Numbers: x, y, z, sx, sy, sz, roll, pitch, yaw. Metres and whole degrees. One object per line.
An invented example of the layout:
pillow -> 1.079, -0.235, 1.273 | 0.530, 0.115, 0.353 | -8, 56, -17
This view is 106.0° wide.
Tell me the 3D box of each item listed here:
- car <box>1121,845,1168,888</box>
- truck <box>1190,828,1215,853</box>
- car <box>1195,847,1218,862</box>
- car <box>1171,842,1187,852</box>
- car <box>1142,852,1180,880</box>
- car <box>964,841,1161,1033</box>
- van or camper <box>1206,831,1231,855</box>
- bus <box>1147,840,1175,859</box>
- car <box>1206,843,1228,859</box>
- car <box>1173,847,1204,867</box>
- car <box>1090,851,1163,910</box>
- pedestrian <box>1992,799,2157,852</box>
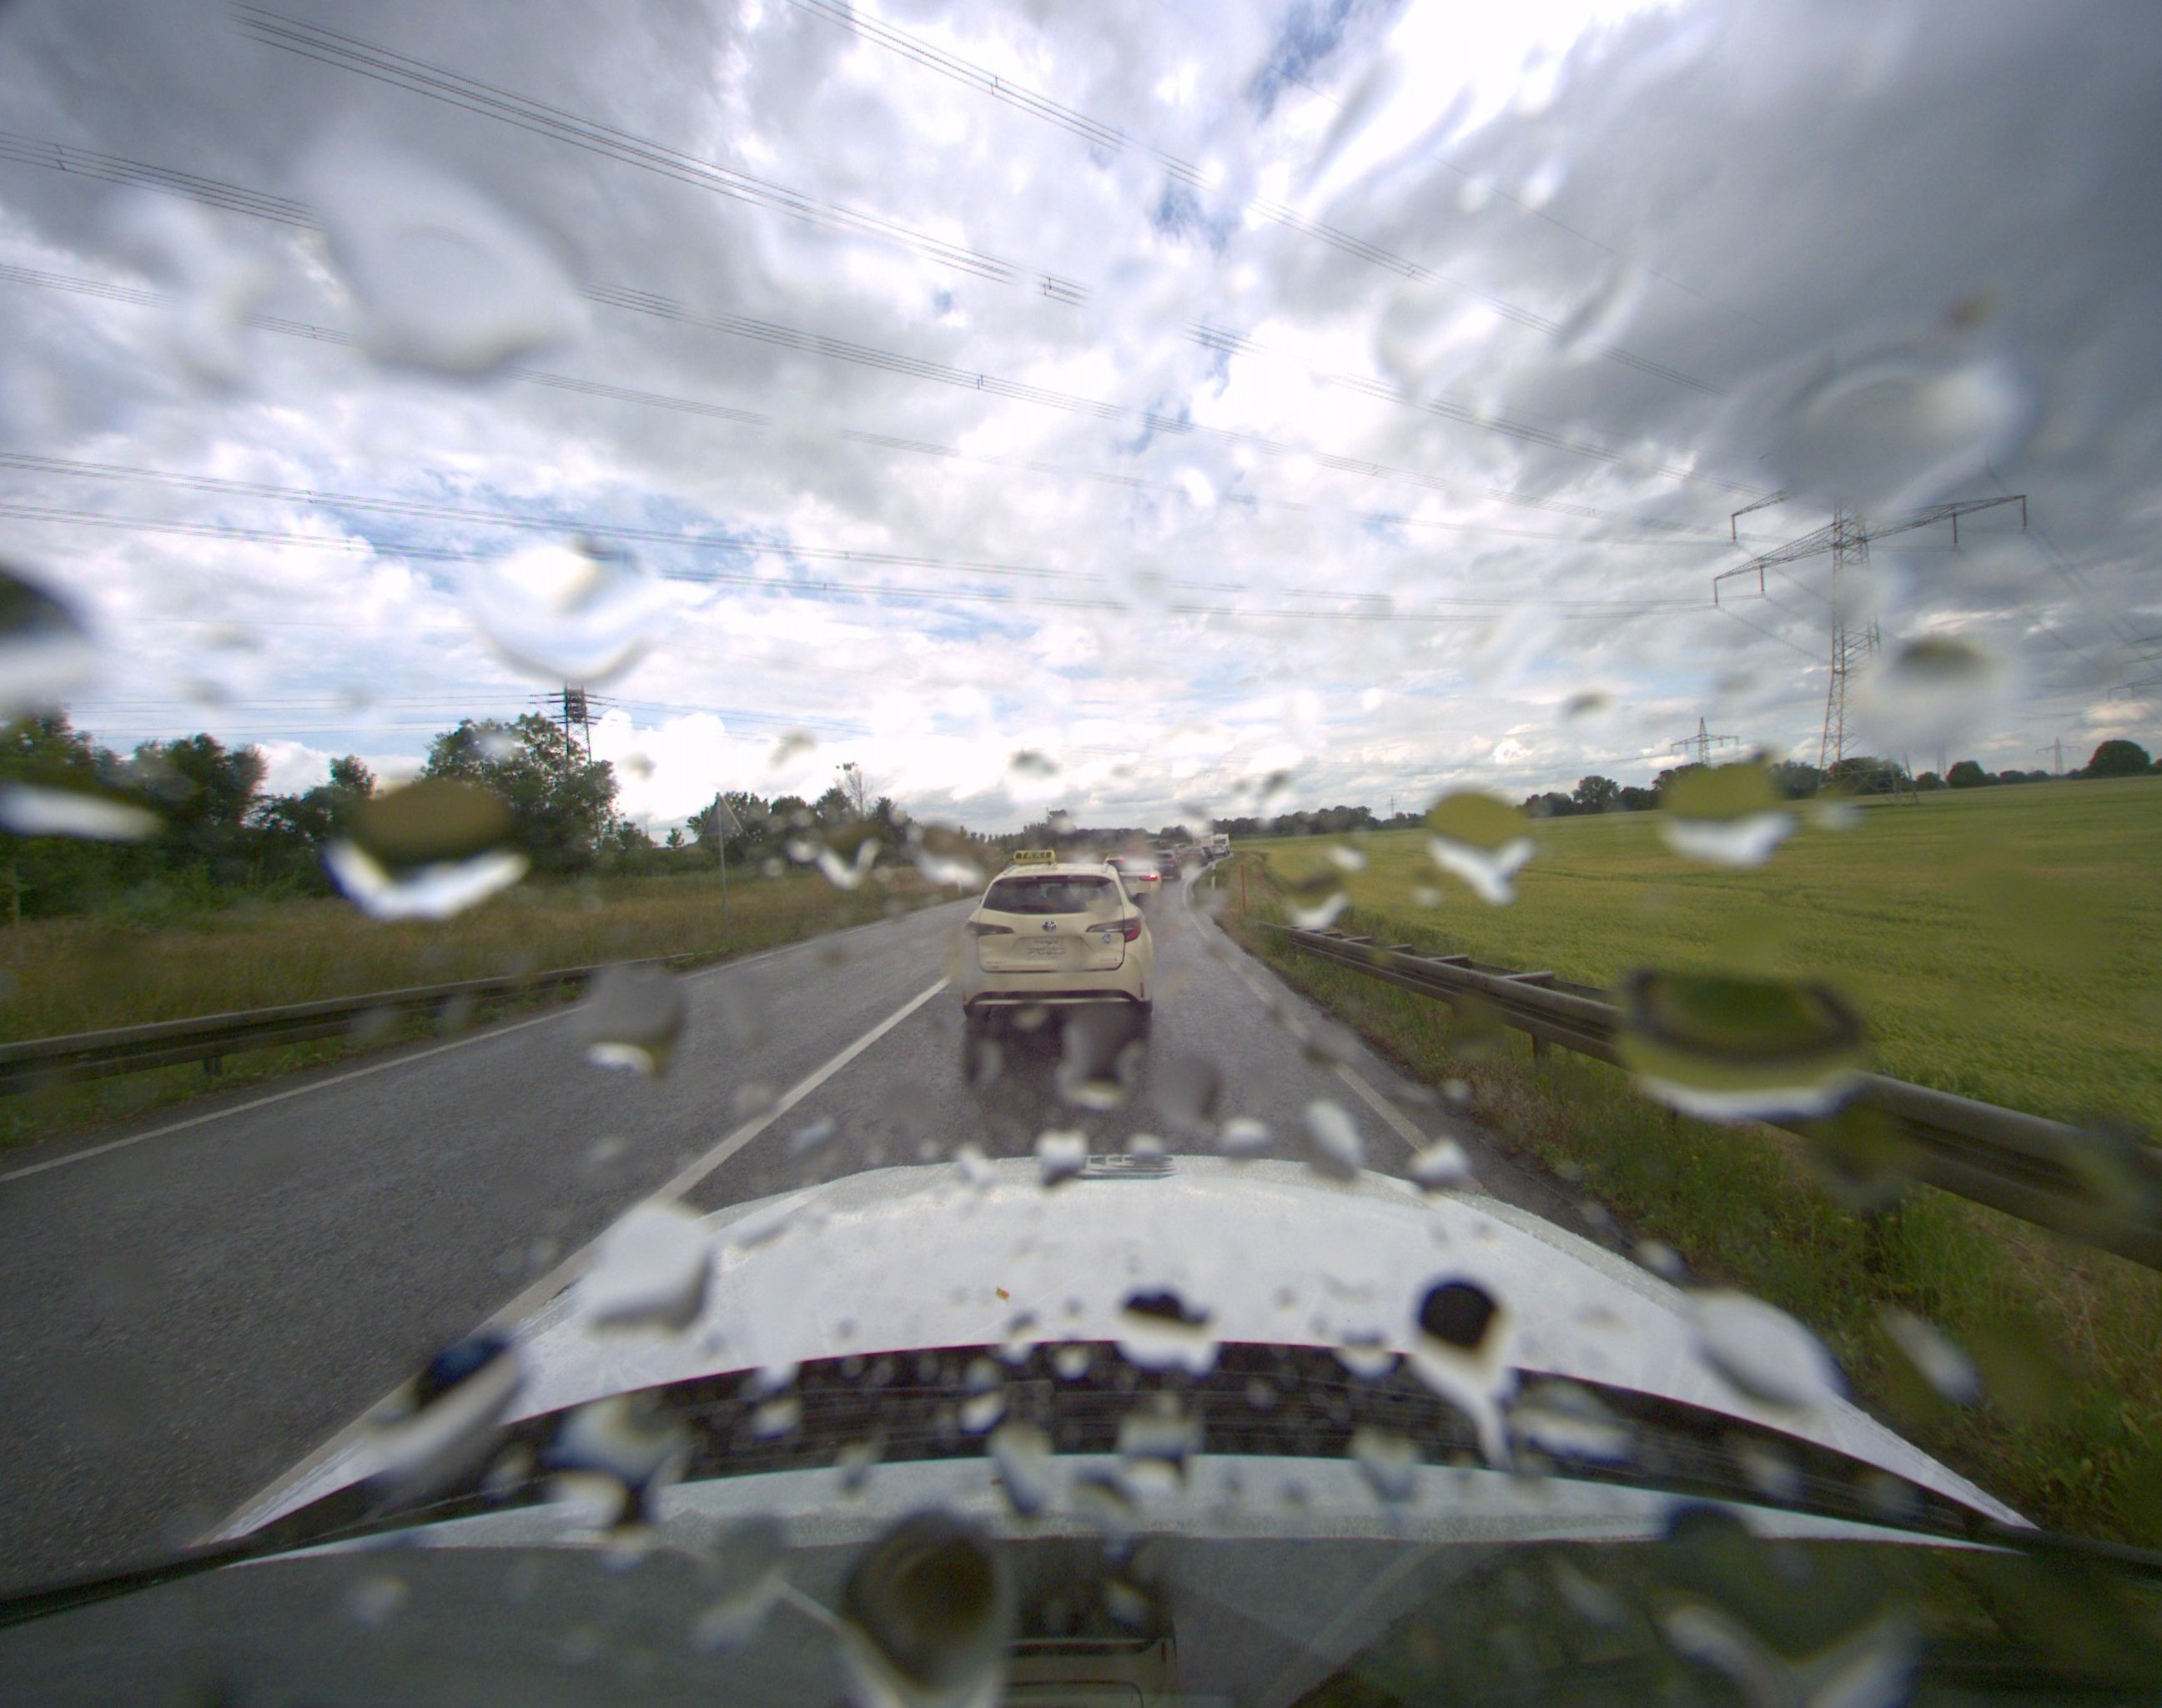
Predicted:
car -> 2.631, 0.500, 32.961 | 1.603, 1.659, 3.747 | -1, -1, 9
truck -> 19.630, -2.180, 131.954 | 3.115, 3.852, 7.388 | -1, -1, 1
car -> 12.138, 0.099, 78.480 | 1.812, 1.413, 3.753 | -1, -1, 14
car -> 18.194, -1.217, 150.930 | 1.882, 1.773, 4.146 | -1, -1, -9
car -> 4.194, 0.615, 42.394 | 1.602, 1.413, 3.749 | -1, -1, 11
car -> -0.161, 0.706, 8.588 | 1.608, 1.562, 3.737 | -1, -1, -1
van or camper -> 17.545, -1.361, 104.394 | 2.525, 2.896, 6.752 | -1, 0, 5
bus -> 14.657, -0.820, 150.095 | 2.753, 3.297, 12.481 | -1, 0, -5
car -> 14.944, -0.312, 89.108 | 1.945, 1.729, 3.753 | -1, -1, 15
car -> 8.461, 0.250, 63.883 | 1.946, 1.413, 4.408 | -1, -1, 14
car -> 1.417, 0.687, 23.509 | 1.832, 1.492, 4.616 | -1, 0, 6
pedestrian -> 41.678, -1.131, 34.320 | 1.988, 2.014, 3.997 | -1, -1, -2
